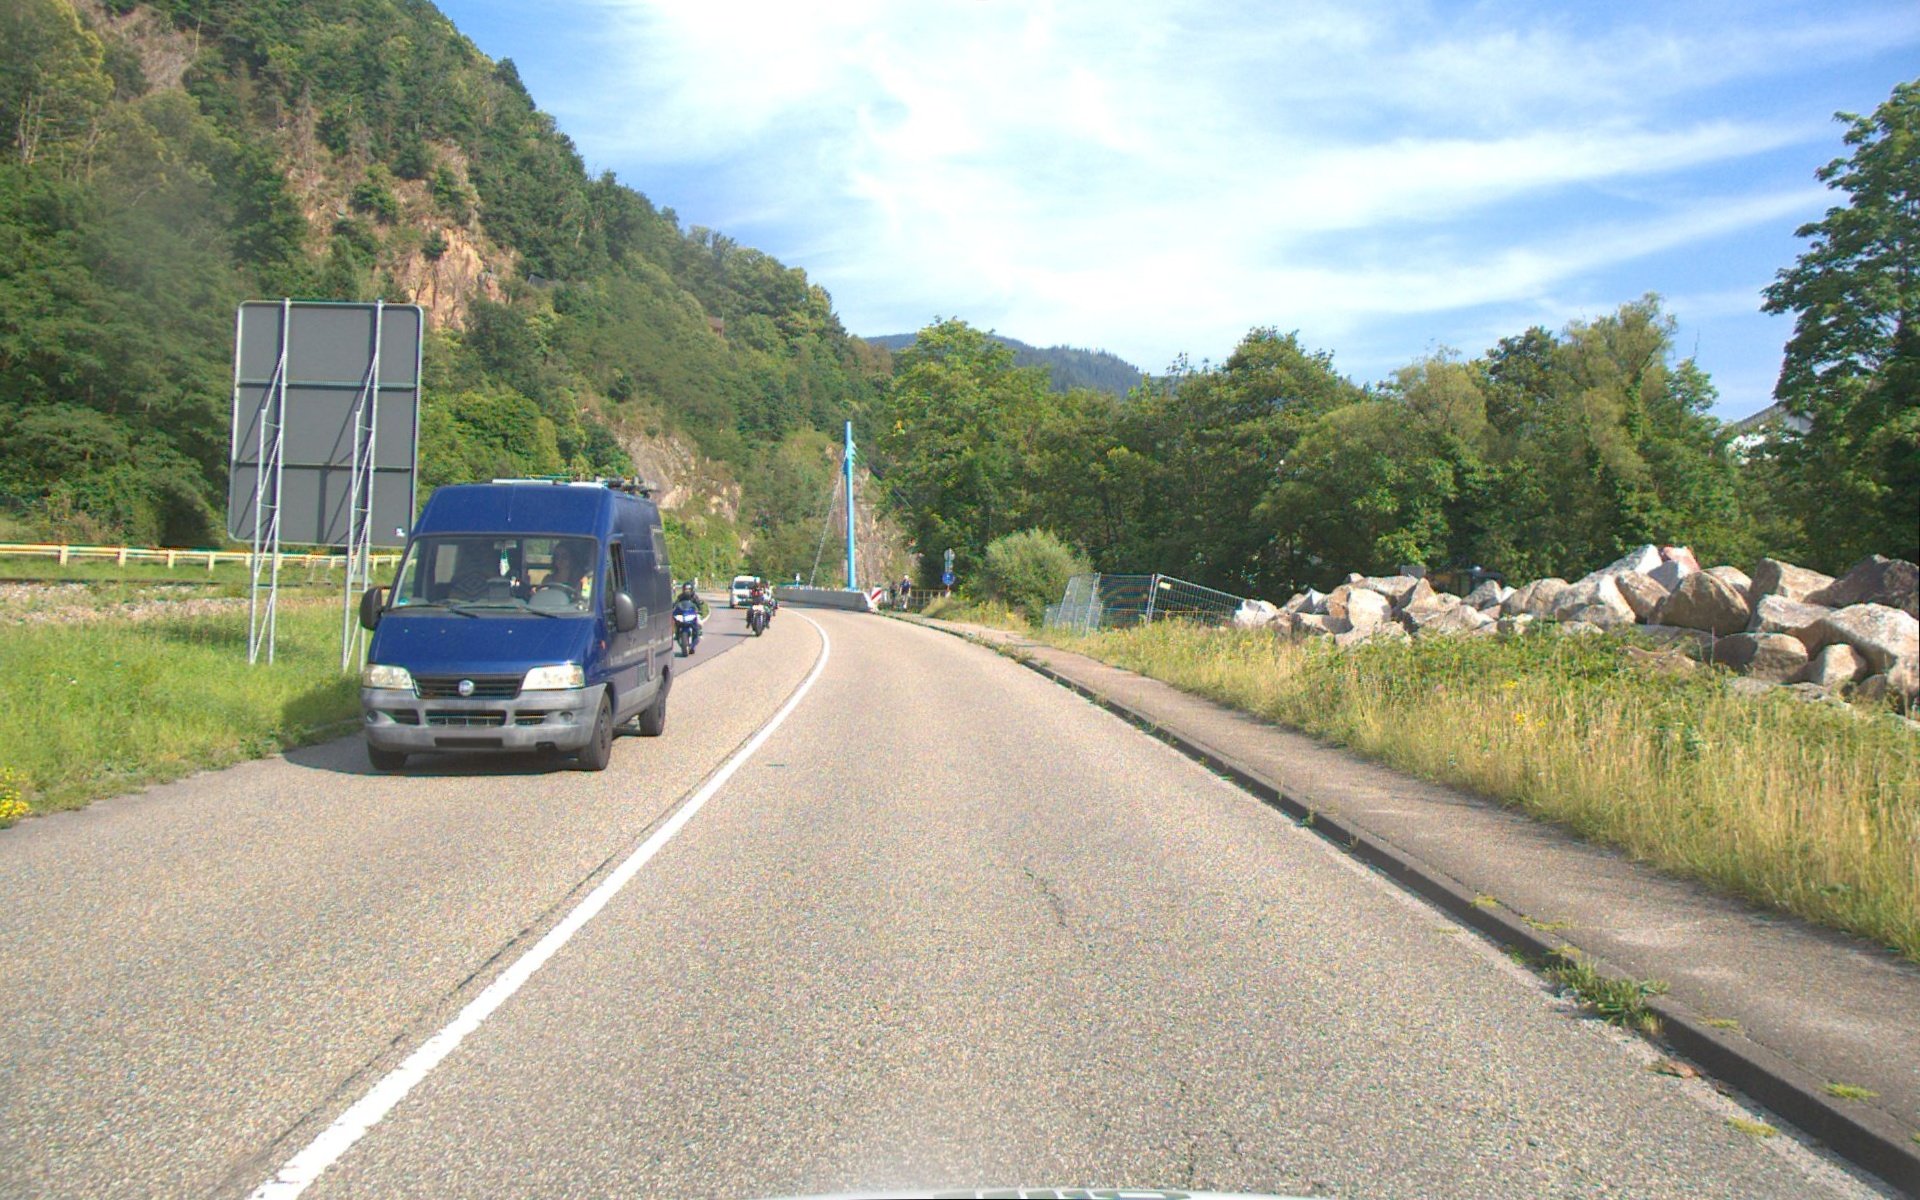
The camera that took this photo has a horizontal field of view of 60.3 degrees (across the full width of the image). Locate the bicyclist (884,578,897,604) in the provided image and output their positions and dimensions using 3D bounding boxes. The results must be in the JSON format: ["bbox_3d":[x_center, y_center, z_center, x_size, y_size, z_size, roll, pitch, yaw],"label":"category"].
[{"bbox_3d":[-3.938,-0.512,93.618,0.581,1.425,0.760,4,0,-8],"label":"bicyclist"}]

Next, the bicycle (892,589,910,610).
[{"bbox_3d":[-2.892,-0.011,81.040,0.636,0.958,1.845,4,0,-8],"label":"bicycle"}]

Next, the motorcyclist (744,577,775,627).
[{"bbox_3d":[-5.966,0.049,49.301,0.827,1.447,0.963,1,1,-3],"label":"motorcyclist"}]

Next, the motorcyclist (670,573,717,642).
[{"bbox_3d":[-5.702,0.154,35.379,0.826,1.447,0.964,1,1,0],"label":"motorcyclist"}]

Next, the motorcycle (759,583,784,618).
[{"bbox_3d":[-7.839,0.013,68.922,0.844,1.407,2.403,1,1,-2],"label":"motorcycle"}]

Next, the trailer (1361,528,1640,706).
[{"bbox_3d":[14.866,0.460,46.668,3.302,4.349,9.890,3,-1,-8],"label":"trailer"}]

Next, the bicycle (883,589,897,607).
[{"bbox_3d":[-3.961,-0.105,93.593,0.589,0.932,1.845,4,0,-8],"label":"bicycle"}]

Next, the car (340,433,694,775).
[{"bbox_3d":[-3.902,0.009,15.683,2.084,2.661,5.477,0,0,-2],"label":"car"}]

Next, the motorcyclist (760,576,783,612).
[{"bbox_3d":[-7.839,-0.243,68.794,0.841,1.447,0.963,1,1,-2],"label":"motorcyclist"}]

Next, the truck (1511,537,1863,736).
[{"bbox_3d":[16.054,0.714,37.504,3.045,3.848,8.628,3,0,-8],"label":"truck"}]

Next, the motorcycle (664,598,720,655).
[{"bbox_3d":[-5.708,0.550,35.318,0.844,1.150,1.968,1,1,0],"label":"motorcycle"}]

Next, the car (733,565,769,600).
[{"bbox_3d":[-11.784,-0.986,93.164,1.835,1.812,4.590,3,1,-9],"label":"car"}]

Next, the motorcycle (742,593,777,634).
[{"bbox_3d":[-5.974,0.401,49.373,0.844,1.150,2.124,1,1,-3],"label":"motorcycle"}]

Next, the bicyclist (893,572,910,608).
[{"bbox_3d":[-2.857,-0.491,81.056,0.629,1.683,0.807,4,0,-8],"label":"bicyclist"}]
